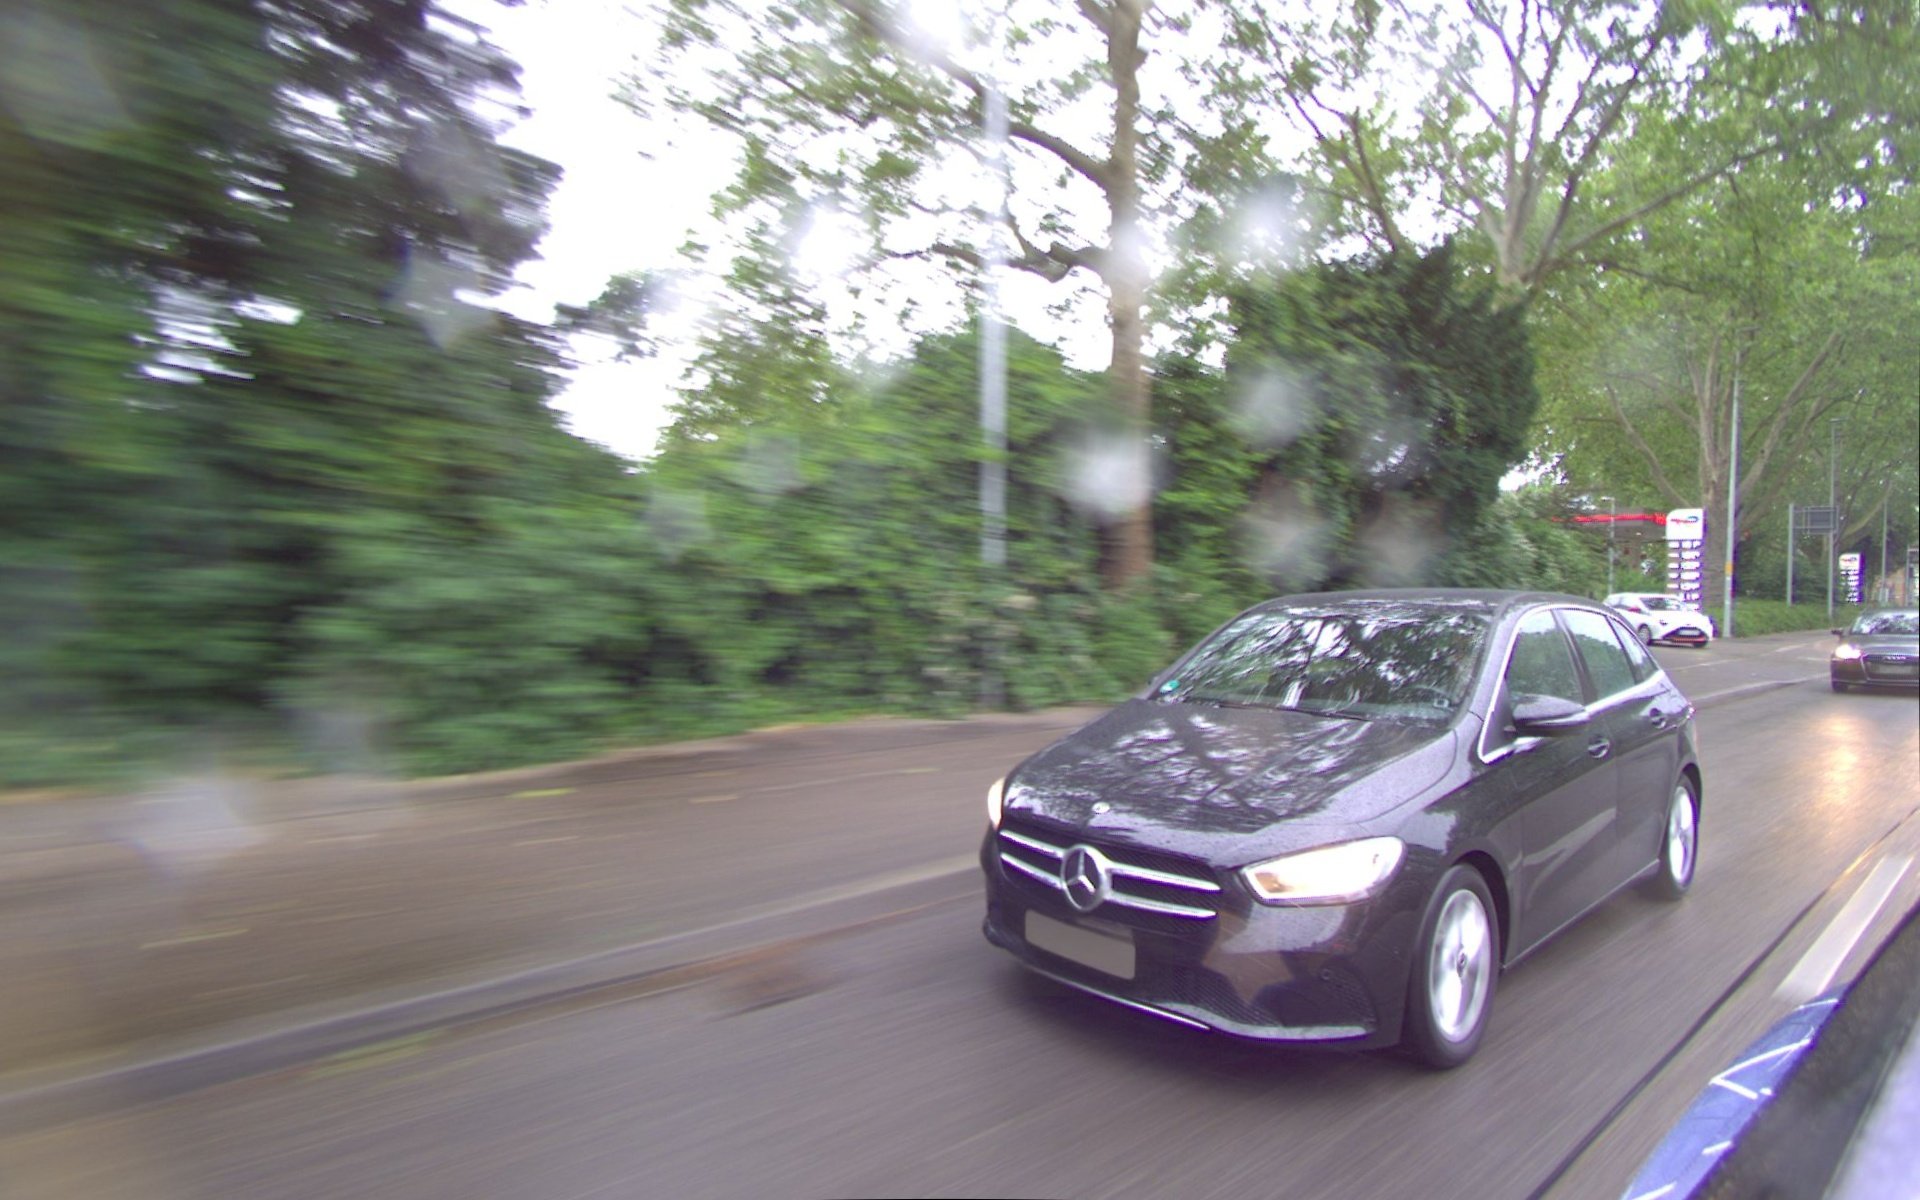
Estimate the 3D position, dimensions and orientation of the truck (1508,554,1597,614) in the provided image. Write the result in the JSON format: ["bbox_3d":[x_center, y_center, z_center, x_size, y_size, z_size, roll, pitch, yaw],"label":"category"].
[{"bbox_3d":[35.809,-0.903,61.059,7.642,3.395,2.695,0,-1,-45],"label":"truck"}]

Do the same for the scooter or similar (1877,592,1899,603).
[{"bbox_3d":[87.355,-0.207,95.244,1.704,1.022,0.454,-1,-1,-5],"label":"scooter or similar"}]

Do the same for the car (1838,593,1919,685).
[{"bbox_3d":[16.197,0.589,17.013,3.715,1.402,1.640,-1,0,-40],"label":"car"}]

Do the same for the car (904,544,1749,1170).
[{"bbox_3d":[2.002,0.628,4.652,4.346,1.549,1.819,0,0,-42],"label":"car"}]

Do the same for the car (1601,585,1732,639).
[{"bbox_3d":[20.312,0.336,29.270,1.580,1.450,3.549,-1,0,7],"label":"car"}]
